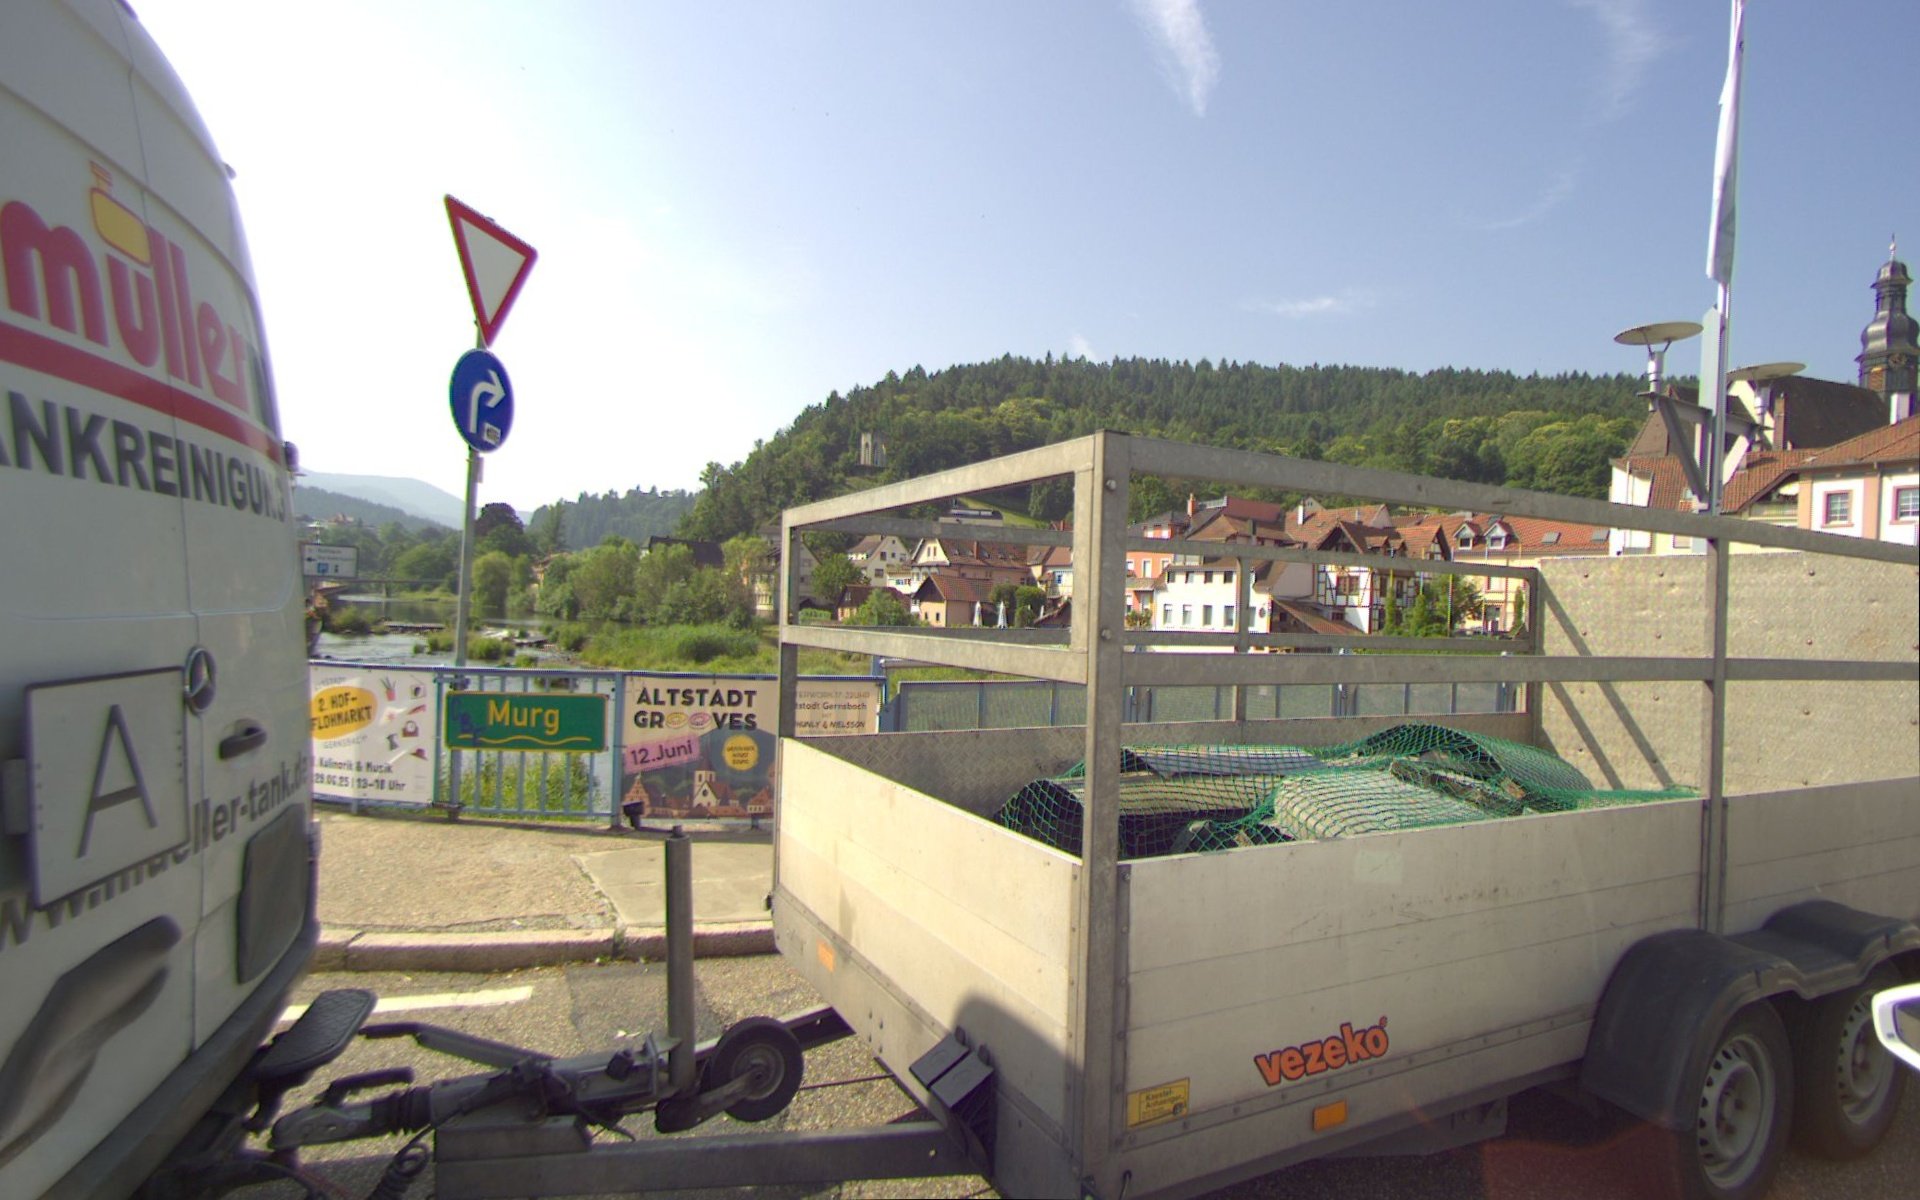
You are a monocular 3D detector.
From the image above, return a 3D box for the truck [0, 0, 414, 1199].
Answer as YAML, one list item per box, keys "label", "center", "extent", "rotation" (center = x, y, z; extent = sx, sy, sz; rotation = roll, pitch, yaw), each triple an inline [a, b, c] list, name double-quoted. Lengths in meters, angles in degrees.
- label: "truck"
  center: [-4.657, -0.040, 0.879]
  extent: [7.017, 2.735, 2.104]
  rotation: [0, 0, -17]

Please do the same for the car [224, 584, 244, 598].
- label: "car"
  center: [-79.474, -0.977, 109.967]
  extent: [1.502, 1.467, 3.248]
  rotation: [1, 0, -32]

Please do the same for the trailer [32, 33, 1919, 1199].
- label: "trailer"
  center: [1.156, 0.510, 3.251]
  extent: [5.564, 1.852, 2.601]
  rotation: [1, 0, -27]

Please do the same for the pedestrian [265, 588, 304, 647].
- label: "pedestrian"
  center: [-20.278, 0.513, 30.168]
  extent: [0.859, 1.728, 0.771]
  rotation: [2, 0, -29]

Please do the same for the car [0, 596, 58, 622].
- label: "car"
  center: [-46.831, 0.442, 50.578]
  extent: [1.551, 1.236, 3.248]
  rotation: [1, 0, -32]

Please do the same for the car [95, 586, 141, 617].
- label: "car"
  center: [-54.909, 0.090, 65.556]
  extent: [1.733, 1.961, 3.546]
  rotation: [1, 0, -32]

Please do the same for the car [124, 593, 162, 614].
- label: "car"
  center: [-61.203, 0.232, 75.274]
  extent: [1.733, 1.467, 3.248]
  rotation: [1, 0, -32]

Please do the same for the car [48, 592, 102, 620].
- label: "car"
  center: [-49.419, 0.325, 56.157]
  extent: [1.733, 1.467, 3.248]
  rotation: [1, 0, -32]
